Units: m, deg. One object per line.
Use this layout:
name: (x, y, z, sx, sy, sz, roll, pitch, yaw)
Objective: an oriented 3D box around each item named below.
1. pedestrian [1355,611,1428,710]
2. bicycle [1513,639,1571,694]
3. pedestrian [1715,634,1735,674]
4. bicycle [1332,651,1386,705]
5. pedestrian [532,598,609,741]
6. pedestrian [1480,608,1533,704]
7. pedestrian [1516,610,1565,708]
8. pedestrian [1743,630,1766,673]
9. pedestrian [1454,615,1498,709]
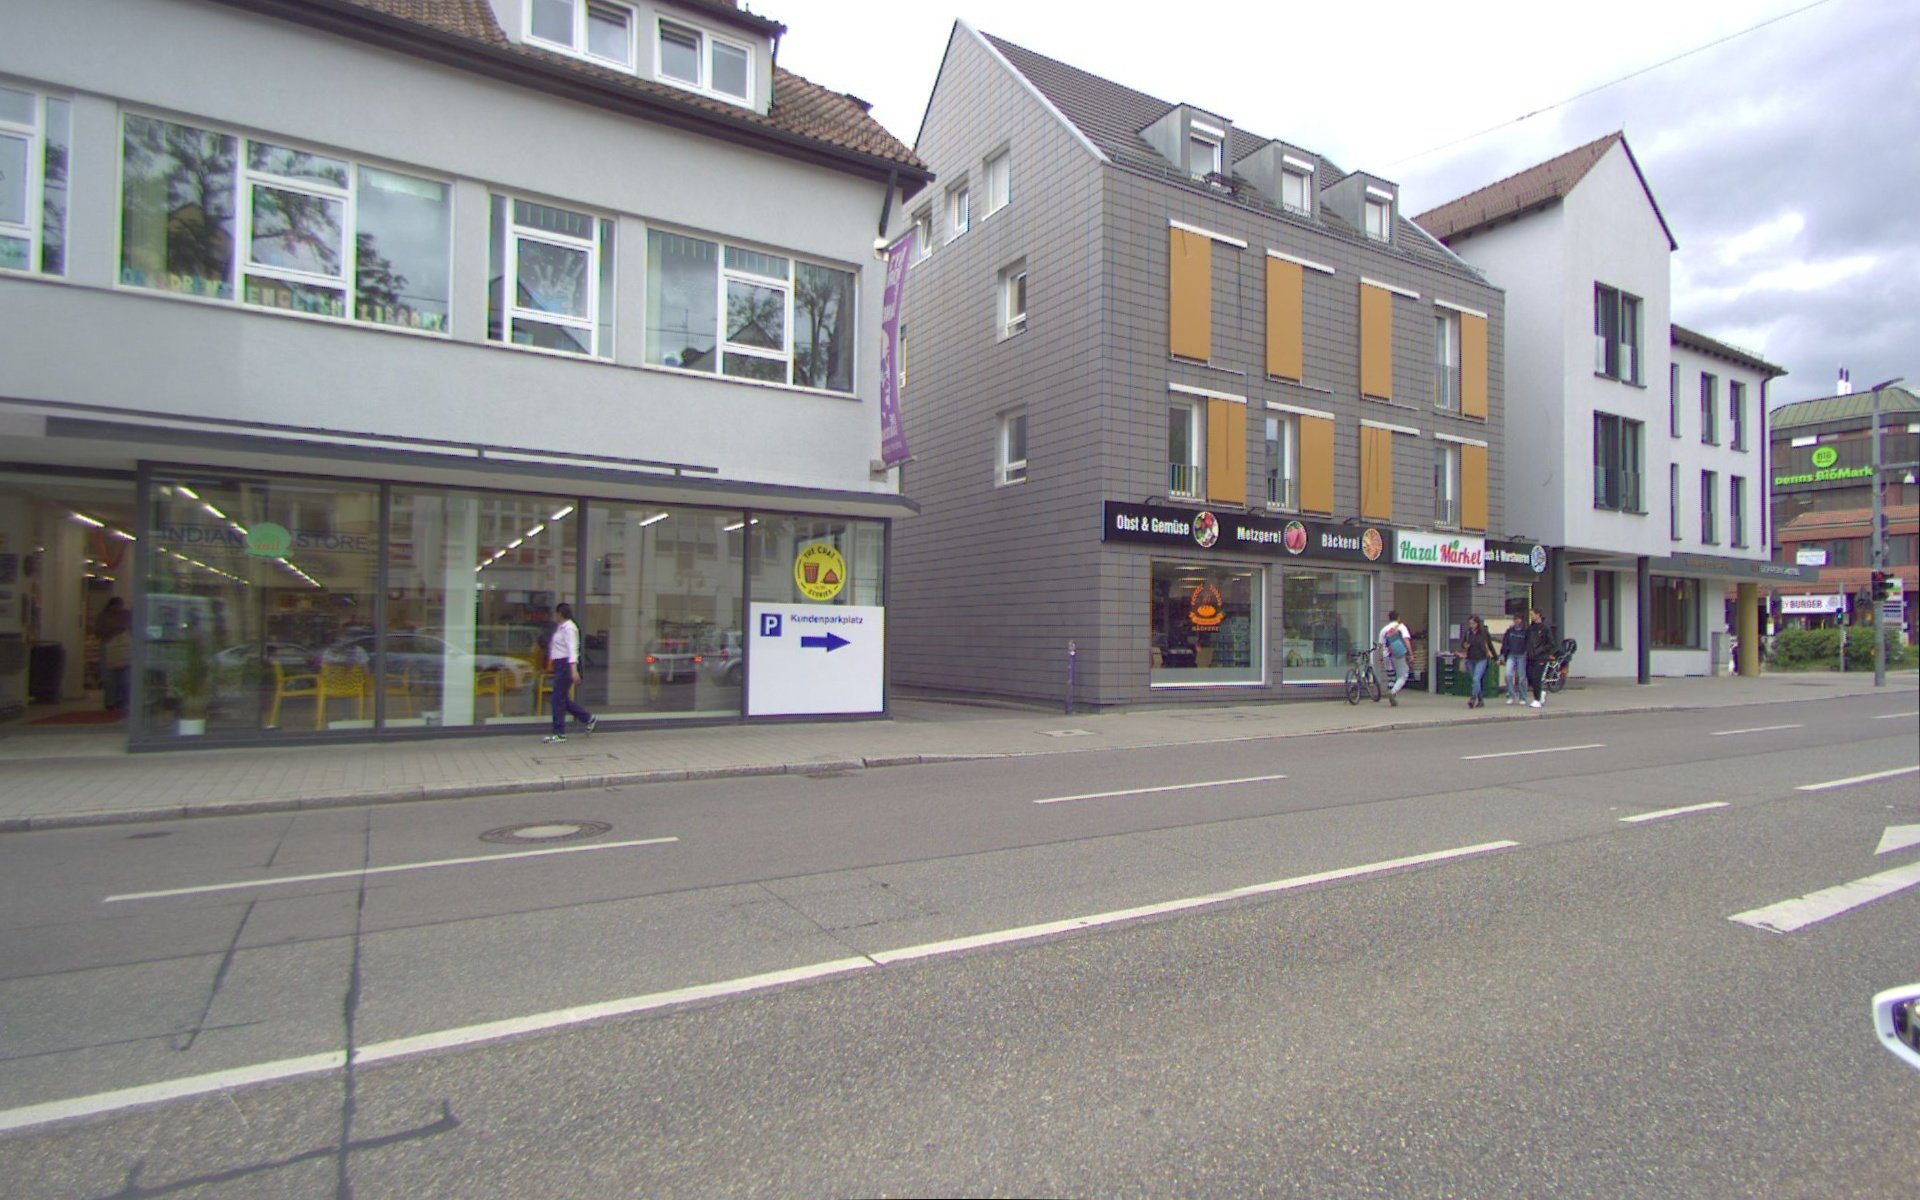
pedestrian: (7.899, 1.088, 18.392, 0.969, 1.728, 0.750, 1, 2, -30)
bicycle: (13.270, 1.502, 22.891, 1.807, 1.201, 0.384, 1, -2, -34)
pedestrian: (32.366, 2.262, 42.508, 0.654, 1.671, 0.790, 0, -1, 39)
bicycle: (7.609, 1.473, 19.134, 1.472, 0.966, 0.323, 2, -2, -42)
pedestrian: (-4.653, 0.809, 11.975, 0.744, 1.631, 0.725, 1, -1, -30)
pedestrian: (10.617, 1.071, 19.527, 0.642, 1.814, 0.678, 1, -1, -33)
pedestrian: (10.984, 1.104, 18.998, 0.639, 1.799, 0.566, 1, -1, -31)
pedestrian: (32.109, 2.065, 40.591, 0.694, 1.680, 0.936, 0, -1, 39)
pedestrian: (9.462, 1.118, 18.415, 0.643, 1.672, 0.557, 0, -1, 36)
